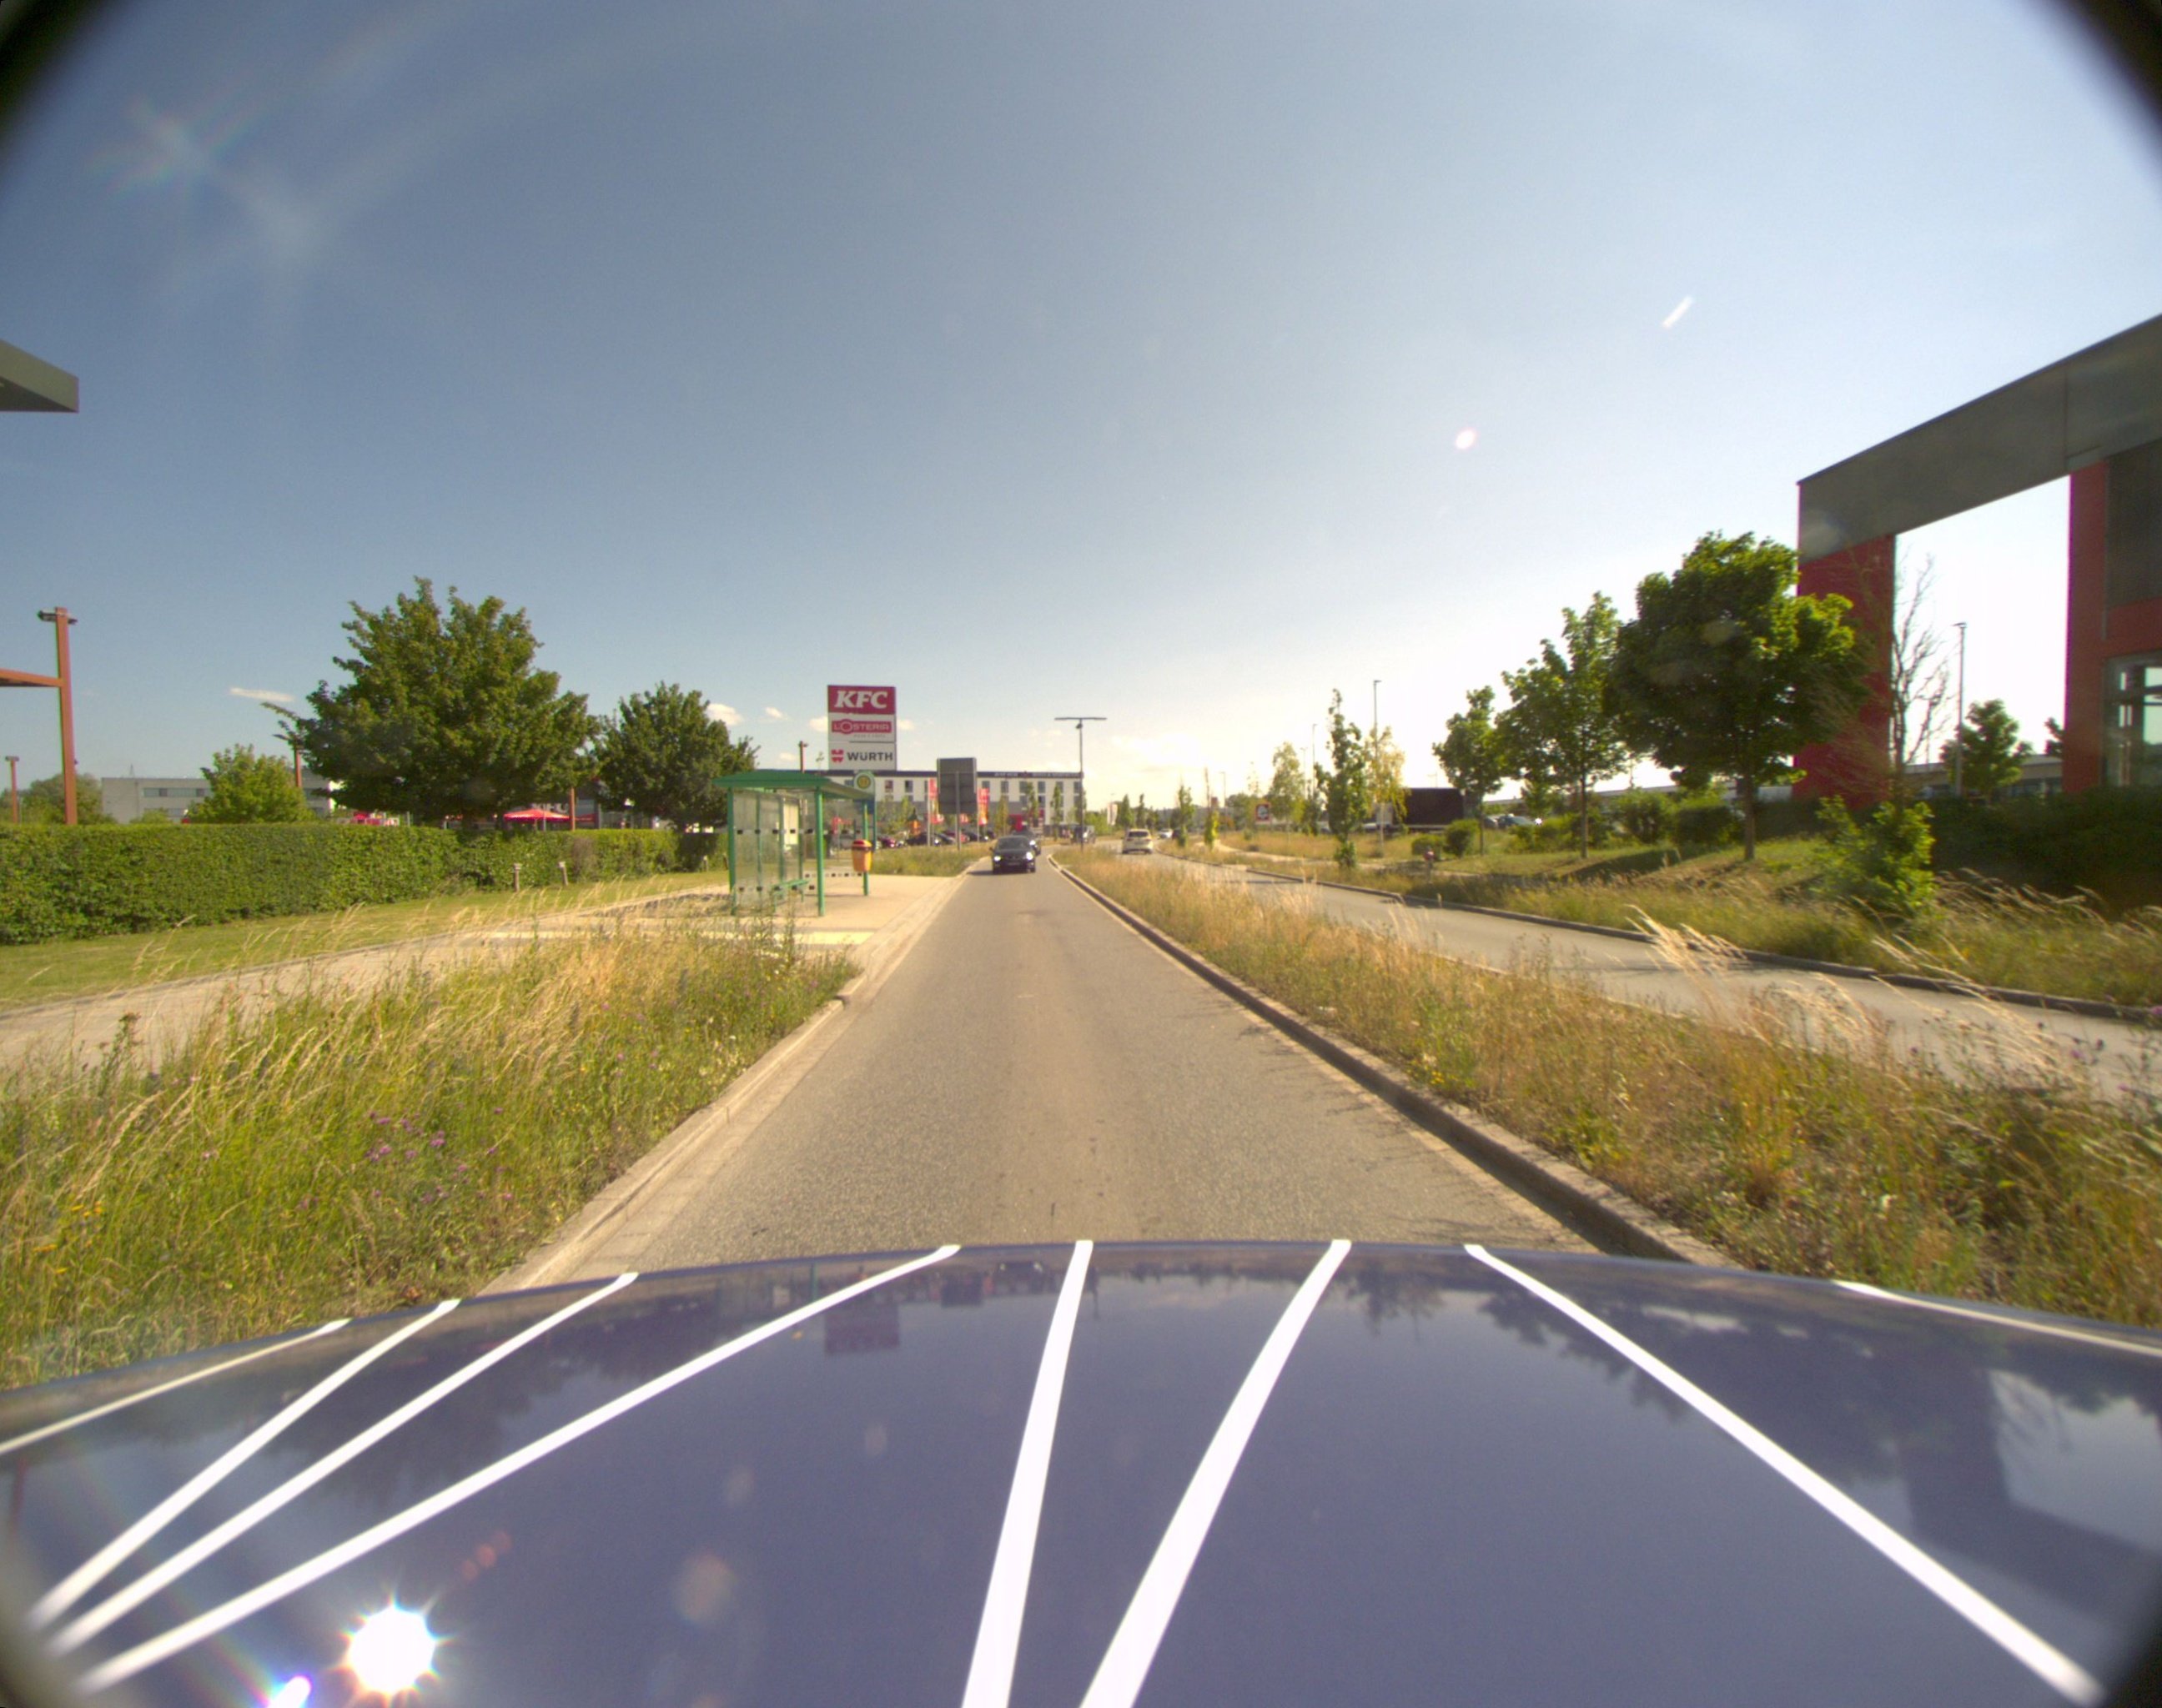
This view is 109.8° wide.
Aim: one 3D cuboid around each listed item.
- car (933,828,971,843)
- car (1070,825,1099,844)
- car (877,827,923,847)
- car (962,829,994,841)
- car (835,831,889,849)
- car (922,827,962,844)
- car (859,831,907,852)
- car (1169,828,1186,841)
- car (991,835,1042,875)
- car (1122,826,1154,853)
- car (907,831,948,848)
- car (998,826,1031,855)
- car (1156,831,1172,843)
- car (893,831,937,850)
[{"bbox_3d":[-15.731,-2.226,93.034,4.180,1.752,1.825,0,2,12],"label":"car"},{"bbox_3d":[0.447,-2.135,82.621,2.077,2.037,4.686,0,2,13],"label":"car"},{"bbox_3d":[-18.810,-1.741,79.006,4.181,2.002,1.934,0,2,9],"label":"car"},{"bbox_3d":[-13.494,-2.478,99.626,3.819,1.610,1.757,0,2,9],"label":"car"},{"bbox_3d":[-20.519,-1.315,71.275,4.439,1.643,1.933,-1,2,2],"label":"car"},{"bbox_3d":[-16.487,-2.195,90.160,4.181,2.002,1.934,0,2,7],"label":"car"},{"bbox_3d":[-19.818,-1.277,75.965,4.180,2.002,1.934,0,2,10],"label":"car"},{"bbox_3d":[12.578,-2.522,99.548,1.998,1.609,4.000,-1,2,4],"label":"car"},{"bbox_3d":[-2.513,-0.017,30.424,1.862,1.460,3.998,-2,2,-2],"label":"car"},{"bbox_3d":[3.770,-1.004,50.857,1.862,1.705,4.155,0,2,0],"label":"car"},{"bbox_3d":[-17.180,-1.668,85.109,4.179,1.847,1.804,0,2,13],"label":"car"},{"bbox_3d":[-4.330,-0.925,49.925,1.862,1.679,3.997,-3,2,-2],"label":"car"},{"bbox_3d":[11.788,-2.385,107.911,1.997,1.674,4.002,-1,1,11],"label":"car"},{"bbox_3d":[-17.997,-1.526,82.574,4.181,2.002,1.934,0,2,9],"label":"car"}]
